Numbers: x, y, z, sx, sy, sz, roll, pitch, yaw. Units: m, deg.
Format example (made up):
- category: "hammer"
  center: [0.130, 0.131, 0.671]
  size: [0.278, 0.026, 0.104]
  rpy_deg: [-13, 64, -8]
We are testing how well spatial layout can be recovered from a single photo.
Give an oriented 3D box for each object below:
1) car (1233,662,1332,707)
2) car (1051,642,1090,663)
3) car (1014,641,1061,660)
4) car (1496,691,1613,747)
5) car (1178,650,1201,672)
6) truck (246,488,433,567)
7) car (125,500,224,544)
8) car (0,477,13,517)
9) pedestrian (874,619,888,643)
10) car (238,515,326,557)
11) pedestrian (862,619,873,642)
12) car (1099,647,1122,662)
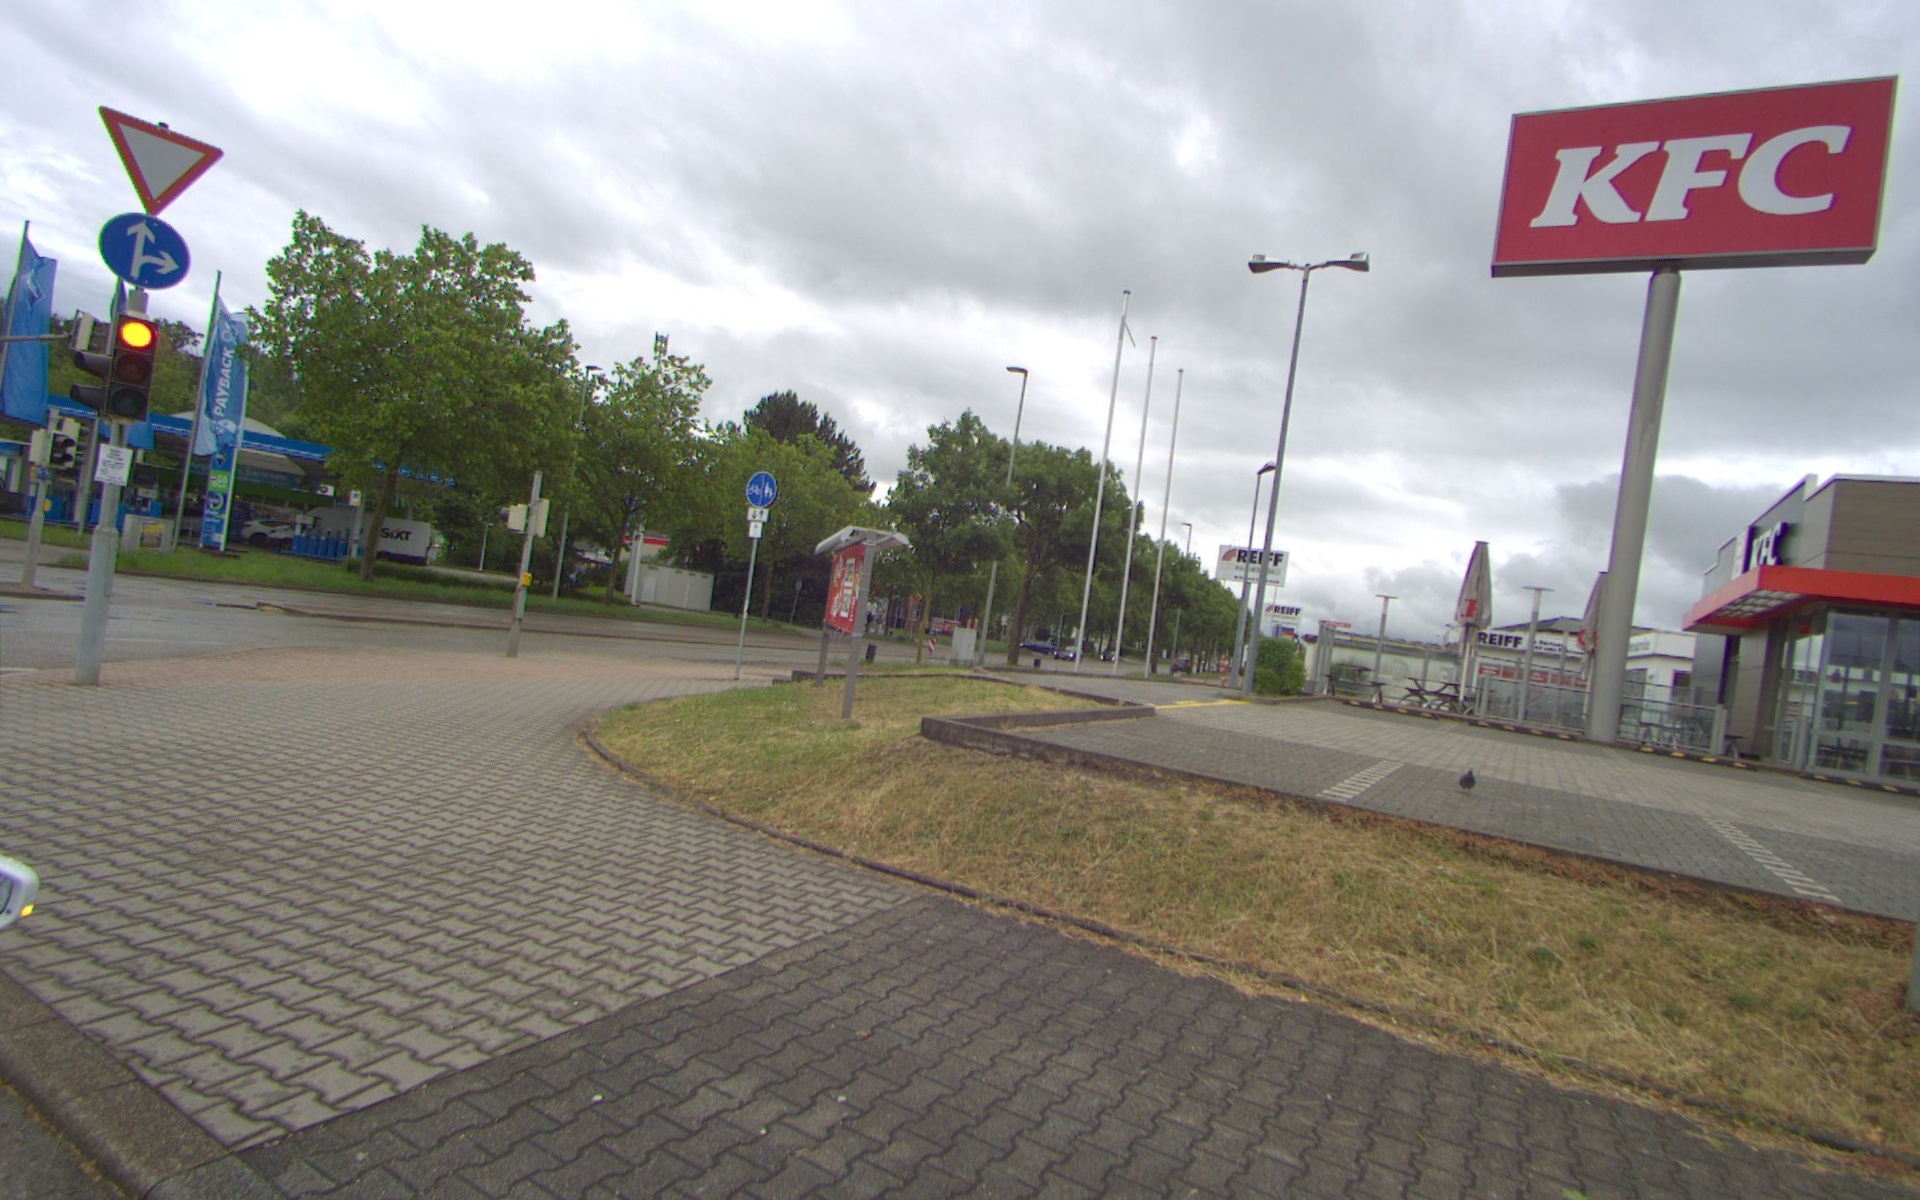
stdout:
- category: "car"
  center: [15.492, 4.056, 48.342]
  size: [4.115, 1.570, 1.888]
  rpy_deg: [7, -1, 28]
- category: "car"
  center: [10.149, 4.831, 92.111]
  size: [1.965, 1.525, 4.730]
  rpy_deg: [6, -3, 26]
- category: "car"
  center: [8.427, 5.492, 108.955]
  size: [4.648, 1.525, 2.000]
  rpy_deg: [7, -3, -7]
- category: "car"
  center: [24.684, 4.916, 41.948]
  size: [3.931, 1.699, 1.956]
  rpy_deg: [7, -1, 28]
- category: "car"
  center: [24.267, 6.470, 106.249]
  size: [1.718, 2.037, 4.002]
  rpy_deg: [7, -1, 19]
- category: "truck"
  center: [-31.480, -3.615, 51.337]
  size: [7.798, 2.707, 2.137]
  rpy_deg: [8, -1, -33]
- category: "car"
  center: [-43.148, -4.243, 55.379]
  size: [3.959, 1.748, 1.781]
  rpy_deg: [8, -1, -31]
- category: "car"
  center: [-47.358, -5.150, 46.977]
  size: [4.082, 1.829, 1.932]
  rpy_deg: [8, -1, -29]
- category: "pedestrian"
  center: [-6.121, 2.419, 78.008]
  size: [0.657, 1.788, 0.580]
  rpy_deg: [8, 0, 42]
- category: "car"
  center: [-36.320, -3.391, 54.000]
  size: [3.523, 1.600, 1.679]
  rpy_deg: [10, -2, -27]
- category: "pedestrian"
  center: [-7.158, 2.388, 77.635]
  size: [0.504, 1.703, 0.540]
  rpy_deg: [6, 0, 21]
- category: "car"
  center: [18.085, 6.577, 120.949]
  size: [1.619, 1.526, 3.893]
  rpy_deg: [6, -2, 24]
